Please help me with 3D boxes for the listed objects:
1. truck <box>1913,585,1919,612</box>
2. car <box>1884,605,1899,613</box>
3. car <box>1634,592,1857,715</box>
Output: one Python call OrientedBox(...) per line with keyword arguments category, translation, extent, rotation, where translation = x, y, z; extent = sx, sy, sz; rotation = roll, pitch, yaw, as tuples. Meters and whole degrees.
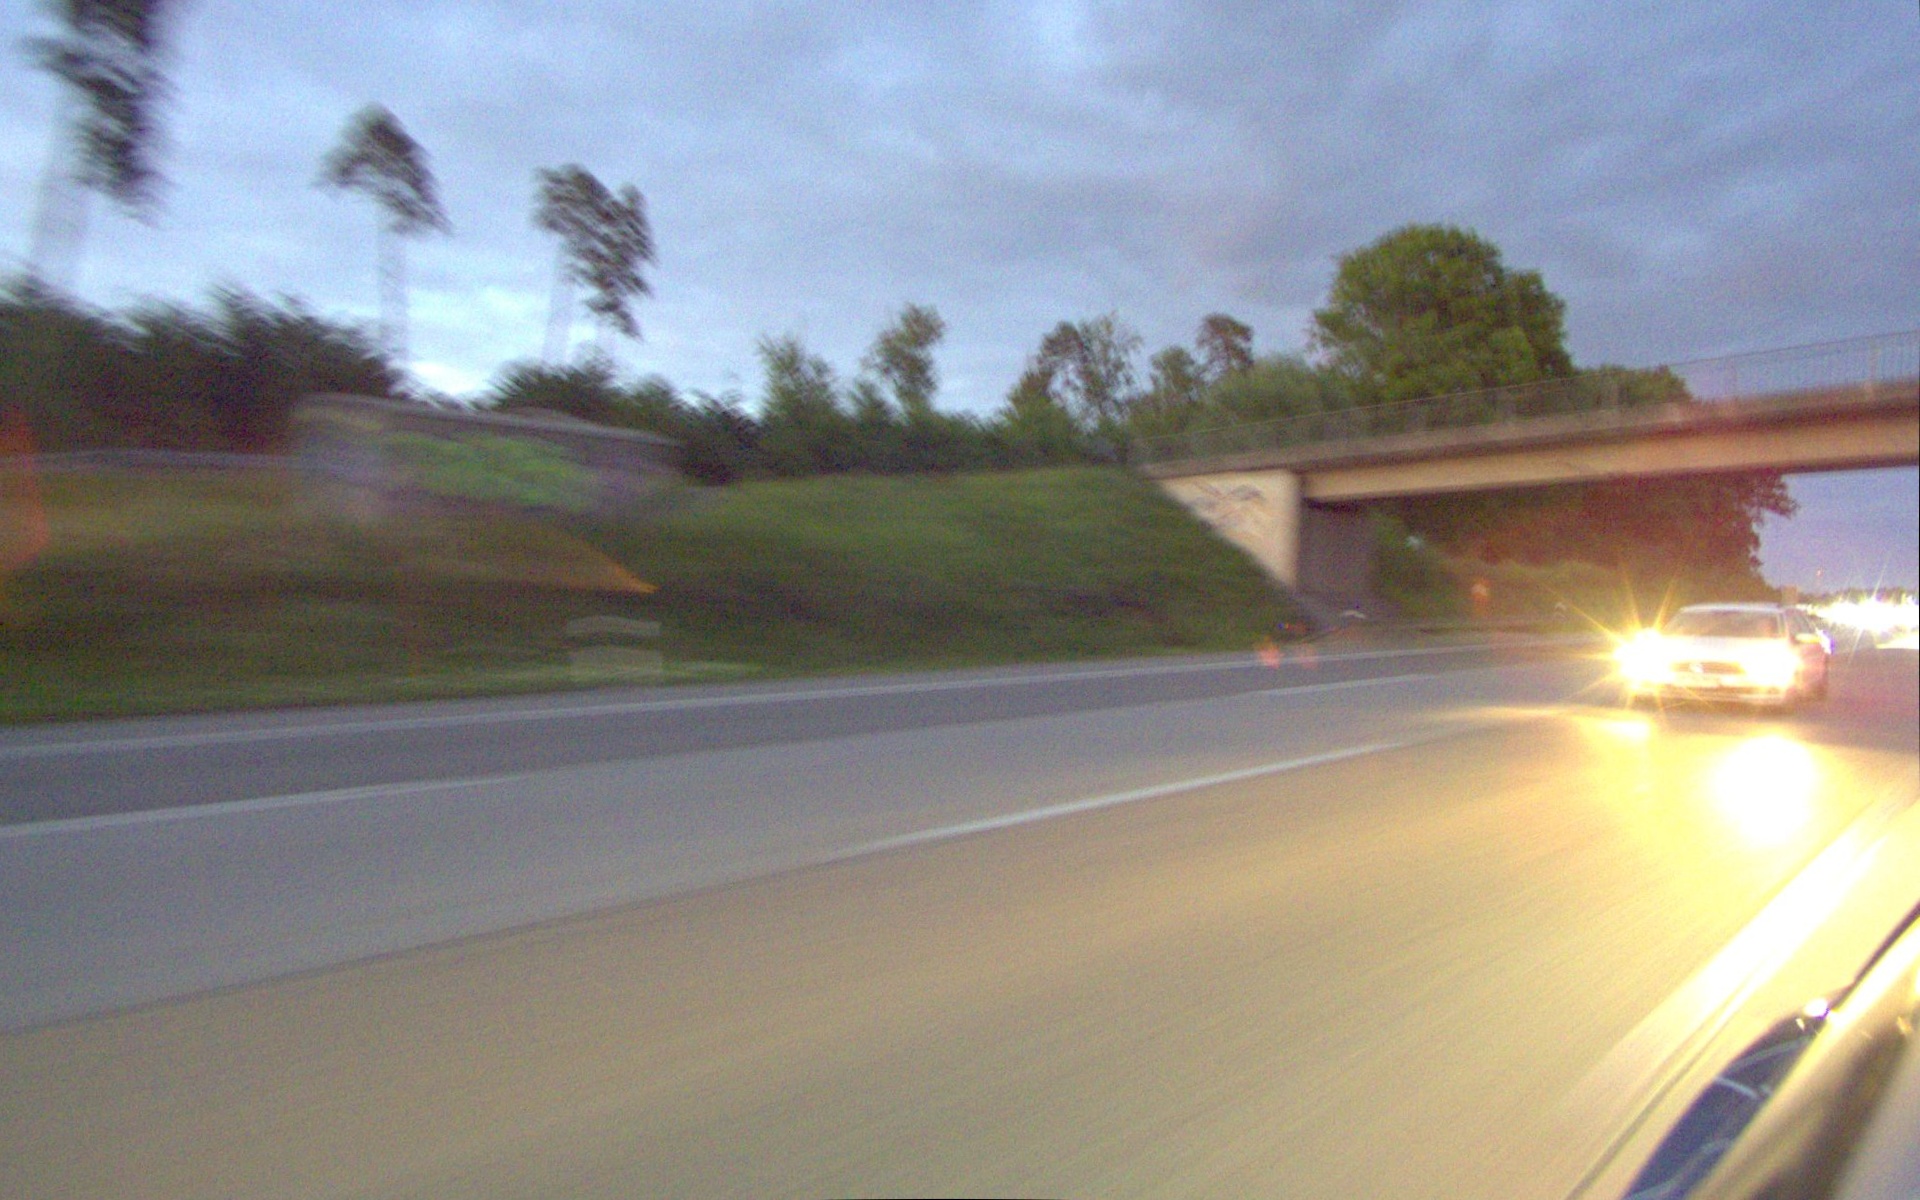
OrientedBox(category="truck", translation=(149.485, -0.160, 156.451), extent=(3.137, 4.062, 10.378), rotation=(1, 0, 43))
OrientedBox(category="car", translation=(163.781, 1.559, 177.956), extent=(1.815, 1.398, 3.978), rotation=(0, 0, 44))
OrientedBox(category="car", translation=(11.808, 0.656, 15.065), extent=(5.045, 1.484, 1.811), rotation=(-1, 1, -43))
